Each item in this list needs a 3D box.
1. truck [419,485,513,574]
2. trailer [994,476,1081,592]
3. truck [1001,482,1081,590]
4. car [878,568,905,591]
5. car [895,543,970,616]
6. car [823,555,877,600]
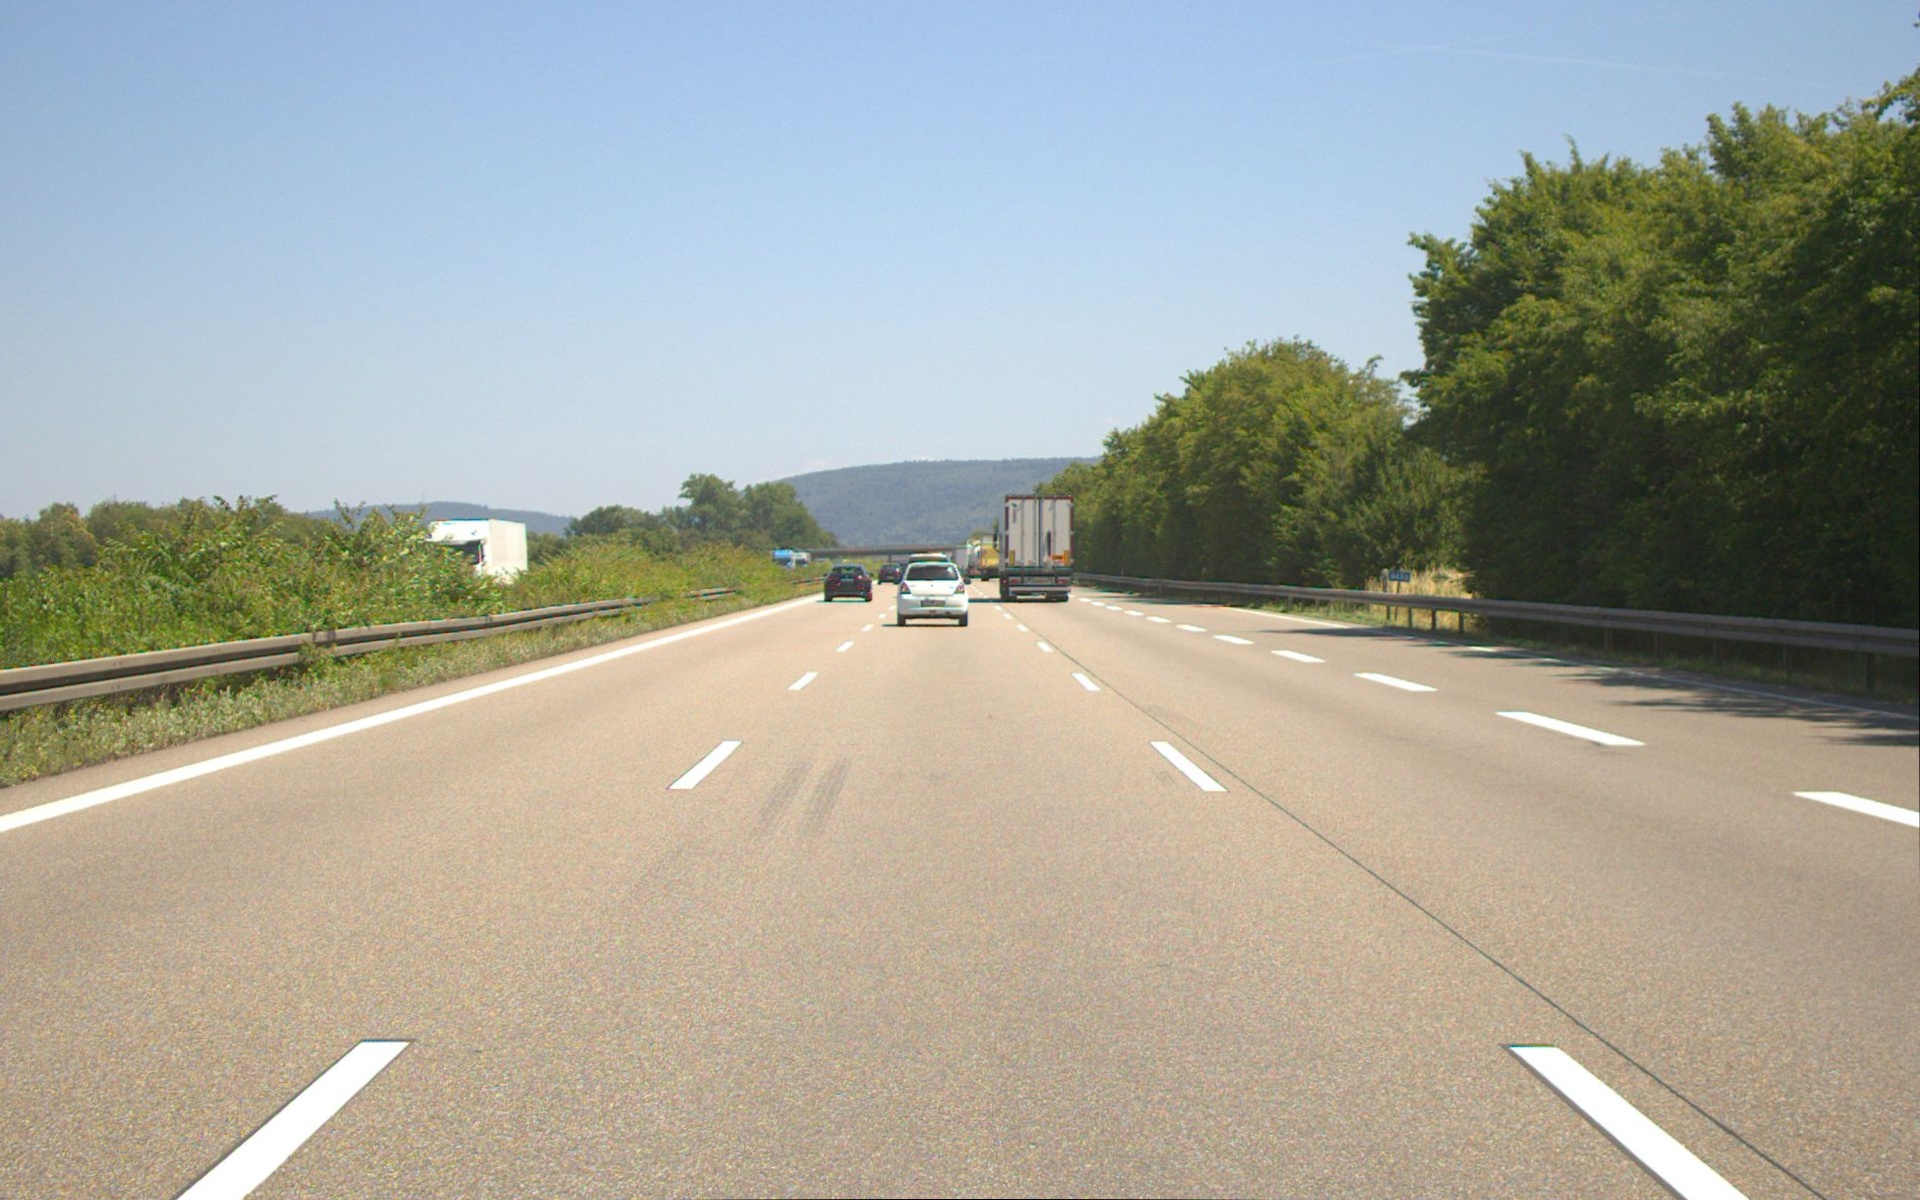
[{"bbox_3d":[-21.149,-2.993,147.425,3.179,3.686,6.036,1,1,-1],"label":"truck"},{"bbox_3d":[3.147,-2.565,136.080,3.218,4.330,13.628,1,1,2],"label":"trailer"},{"bbox_3d":[3.405,-2.643,143.533,3.218,4.330,6.590,1,1,2],"label":"truck"},{"bbox_3d":[-4.748,-1.411,239.329,1.795,1.545,4.000,0,0,0],"label":"car"},{"bbox_3d":[-0.683,-0.499,82.400,1.732,1.678,4.000,-1,1,-1],"label":"car"},{"bbox_3d":[-4.236,-0.871,132.569,1.993,1.706,4.000,1,1,-1],"label":"car"}]
